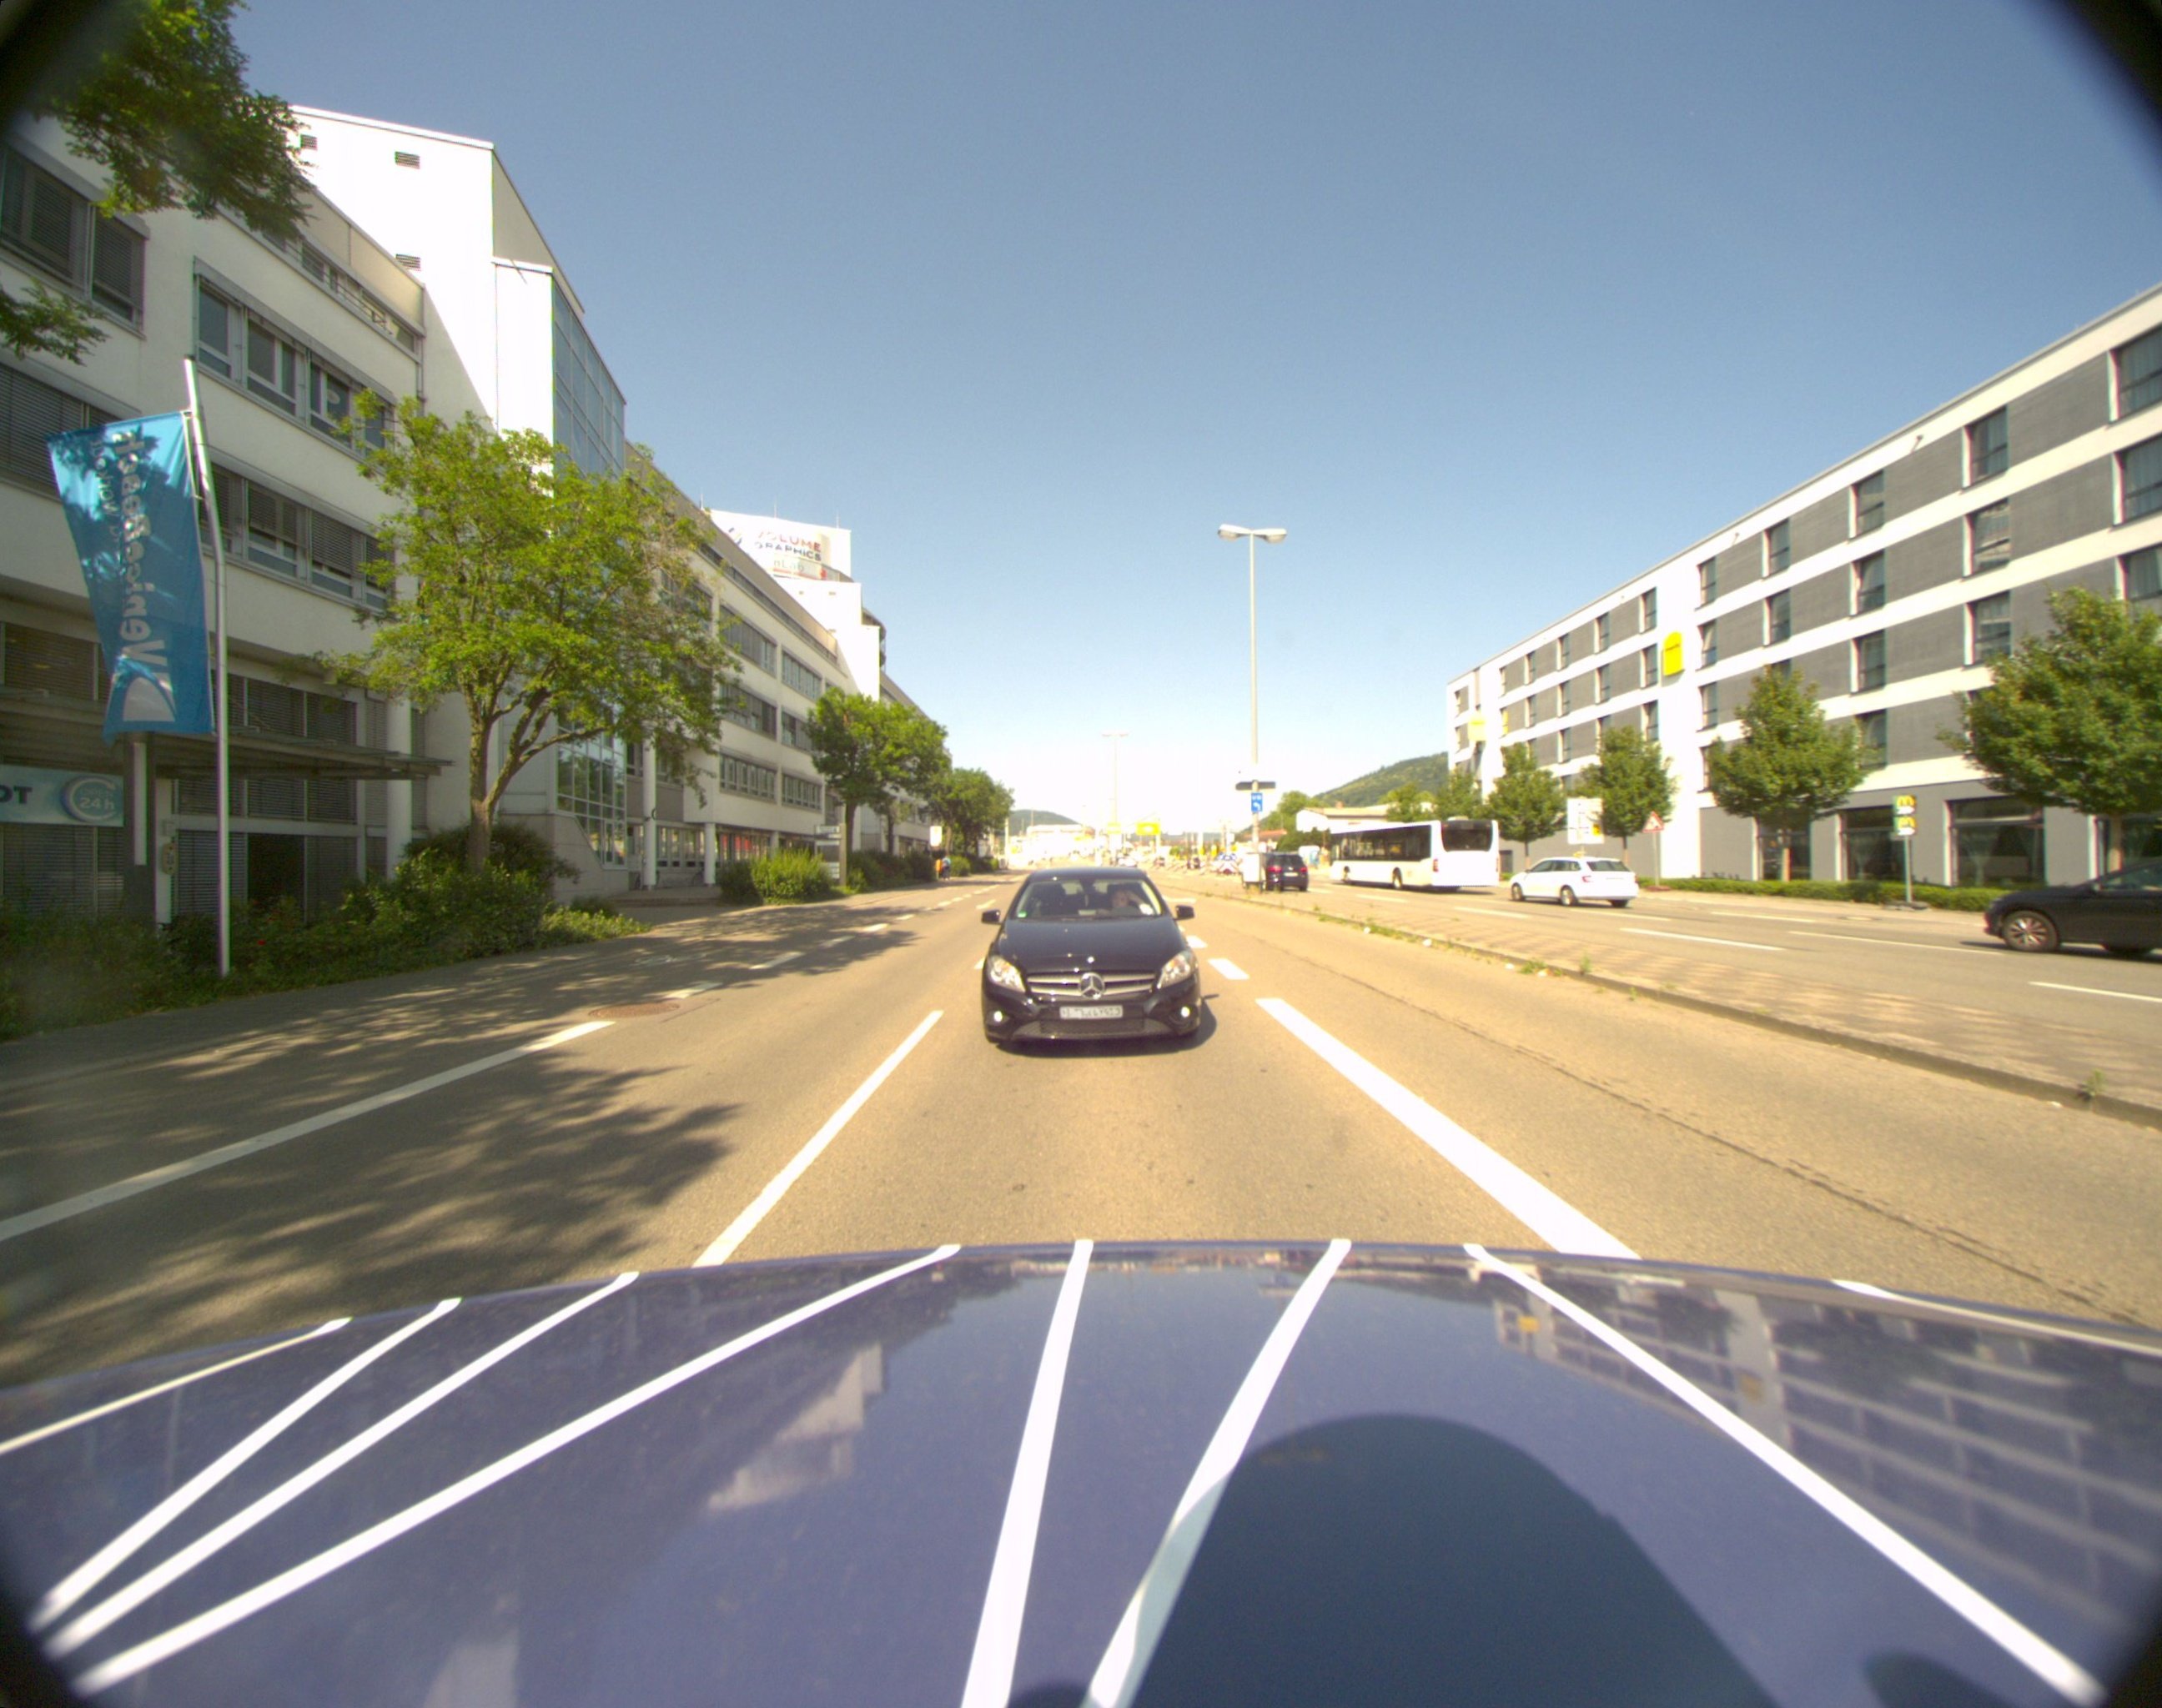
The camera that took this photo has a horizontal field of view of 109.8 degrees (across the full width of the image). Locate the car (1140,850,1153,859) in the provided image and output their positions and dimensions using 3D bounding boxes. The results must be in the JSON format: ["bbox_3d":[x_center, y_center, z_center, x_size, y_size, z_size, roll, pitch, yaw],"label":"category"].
[{"bbox_3d":[12.721,0.099,147.728,1.998,1.702,4.892,-1,-1,1],"label":"car"}]

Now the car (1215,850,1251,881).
[{"bbox_3d":[10.741,0.744,53.782,1.679,2.002,4.164,-2,1,1],"label":"car"}]

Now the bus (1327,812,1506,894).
[{"bbox_3d":[14.618,-0.061,34.668,2.745,3.061,11.974,1,0,0],"label":"bus"}]

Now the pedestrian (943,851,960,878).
[{"bbox_3d":[-9.196,0.747,53.902,0.942,1.875,1.289,2,1,0],"label":"pedestrian"}]

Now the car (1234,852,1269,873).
[{"bbox_3d":[13.605,0.659,60.875,1.764,1.443,3.999,-2,1,-1],"label":"car"}]

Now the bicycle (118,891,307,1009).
[{"bbox_3d":[-11.290,1.188,9.981,0.506,1.321,1.883,0,0,-8],"label":"bicycle"}]

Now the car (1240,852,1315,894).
[{"bbox_3d":[7.965,0.728,31.233,1.890,1.608,4.133,-1,0,-2],"label":"car"}]

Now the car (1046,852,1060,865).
[{"bbox_3d":[-4.904,0.799,132.627,1.998,2.002,4.000,-2,1,2],"label":"car"}]

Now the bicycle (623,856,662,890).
[{"bbox_3d":[-18.059,0.768,31.329,0.506,1.346,1.884,-1,0,1],"label":"bicycle"}]

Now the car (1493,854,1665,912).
[{"bbox_3d":[14.839,0.803,22.988,1.999,1.477,4.410,2,1,-5],"label":"car"}]

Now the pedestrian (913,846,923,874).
[{"bbox_3d":[-15.109,0.548,70.378,0.717,2.534,0.716,-1,1,-1],"label":"pedestrian"}]

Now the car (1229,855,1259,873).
[{"bbox_3d":[15.101,0.918,70.578,1.719,1.609,3.590,-1,0,-5],"label":"car"}]

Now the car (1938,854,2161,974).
[{"bbox_3d":[15.222,0.803,10.402,1.998,1.568,4.412,1,0,1],"label":"car"}]

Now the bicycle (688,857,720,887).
[{"bbox_3d":[-17.718,0.816,35.727,0.506,1.346,1.884,-1,0,1],"label":"bicycle"}]

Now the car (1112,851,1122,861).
[{"bbox_3d":[7.683,0.483,162.423,1.998,2.002,3.999,-2,1,1],"label":"car"}]

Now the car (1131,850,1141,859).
[{"bbox_3d":[12.773,0.140,176.576,1.999,2.002,3.999,0,0,-1],"label":"car"}]

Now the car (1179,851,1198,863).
[{"bbox_3d":[14.808,0.408,104.766,1.998,1.514,4.891,-1,0,1],"label":"car"}]

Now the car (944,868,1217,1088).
[{"bbox_3d":[0.019,0.916,7.699,1.905,1.431,4.693,-1,0,1],"label":"car"}]

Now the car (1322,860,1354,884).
[{"bbox_3d":[14.518,0.999,43.028,1.058,1.200,2.220,-2,1,2],"label":"car"}]
